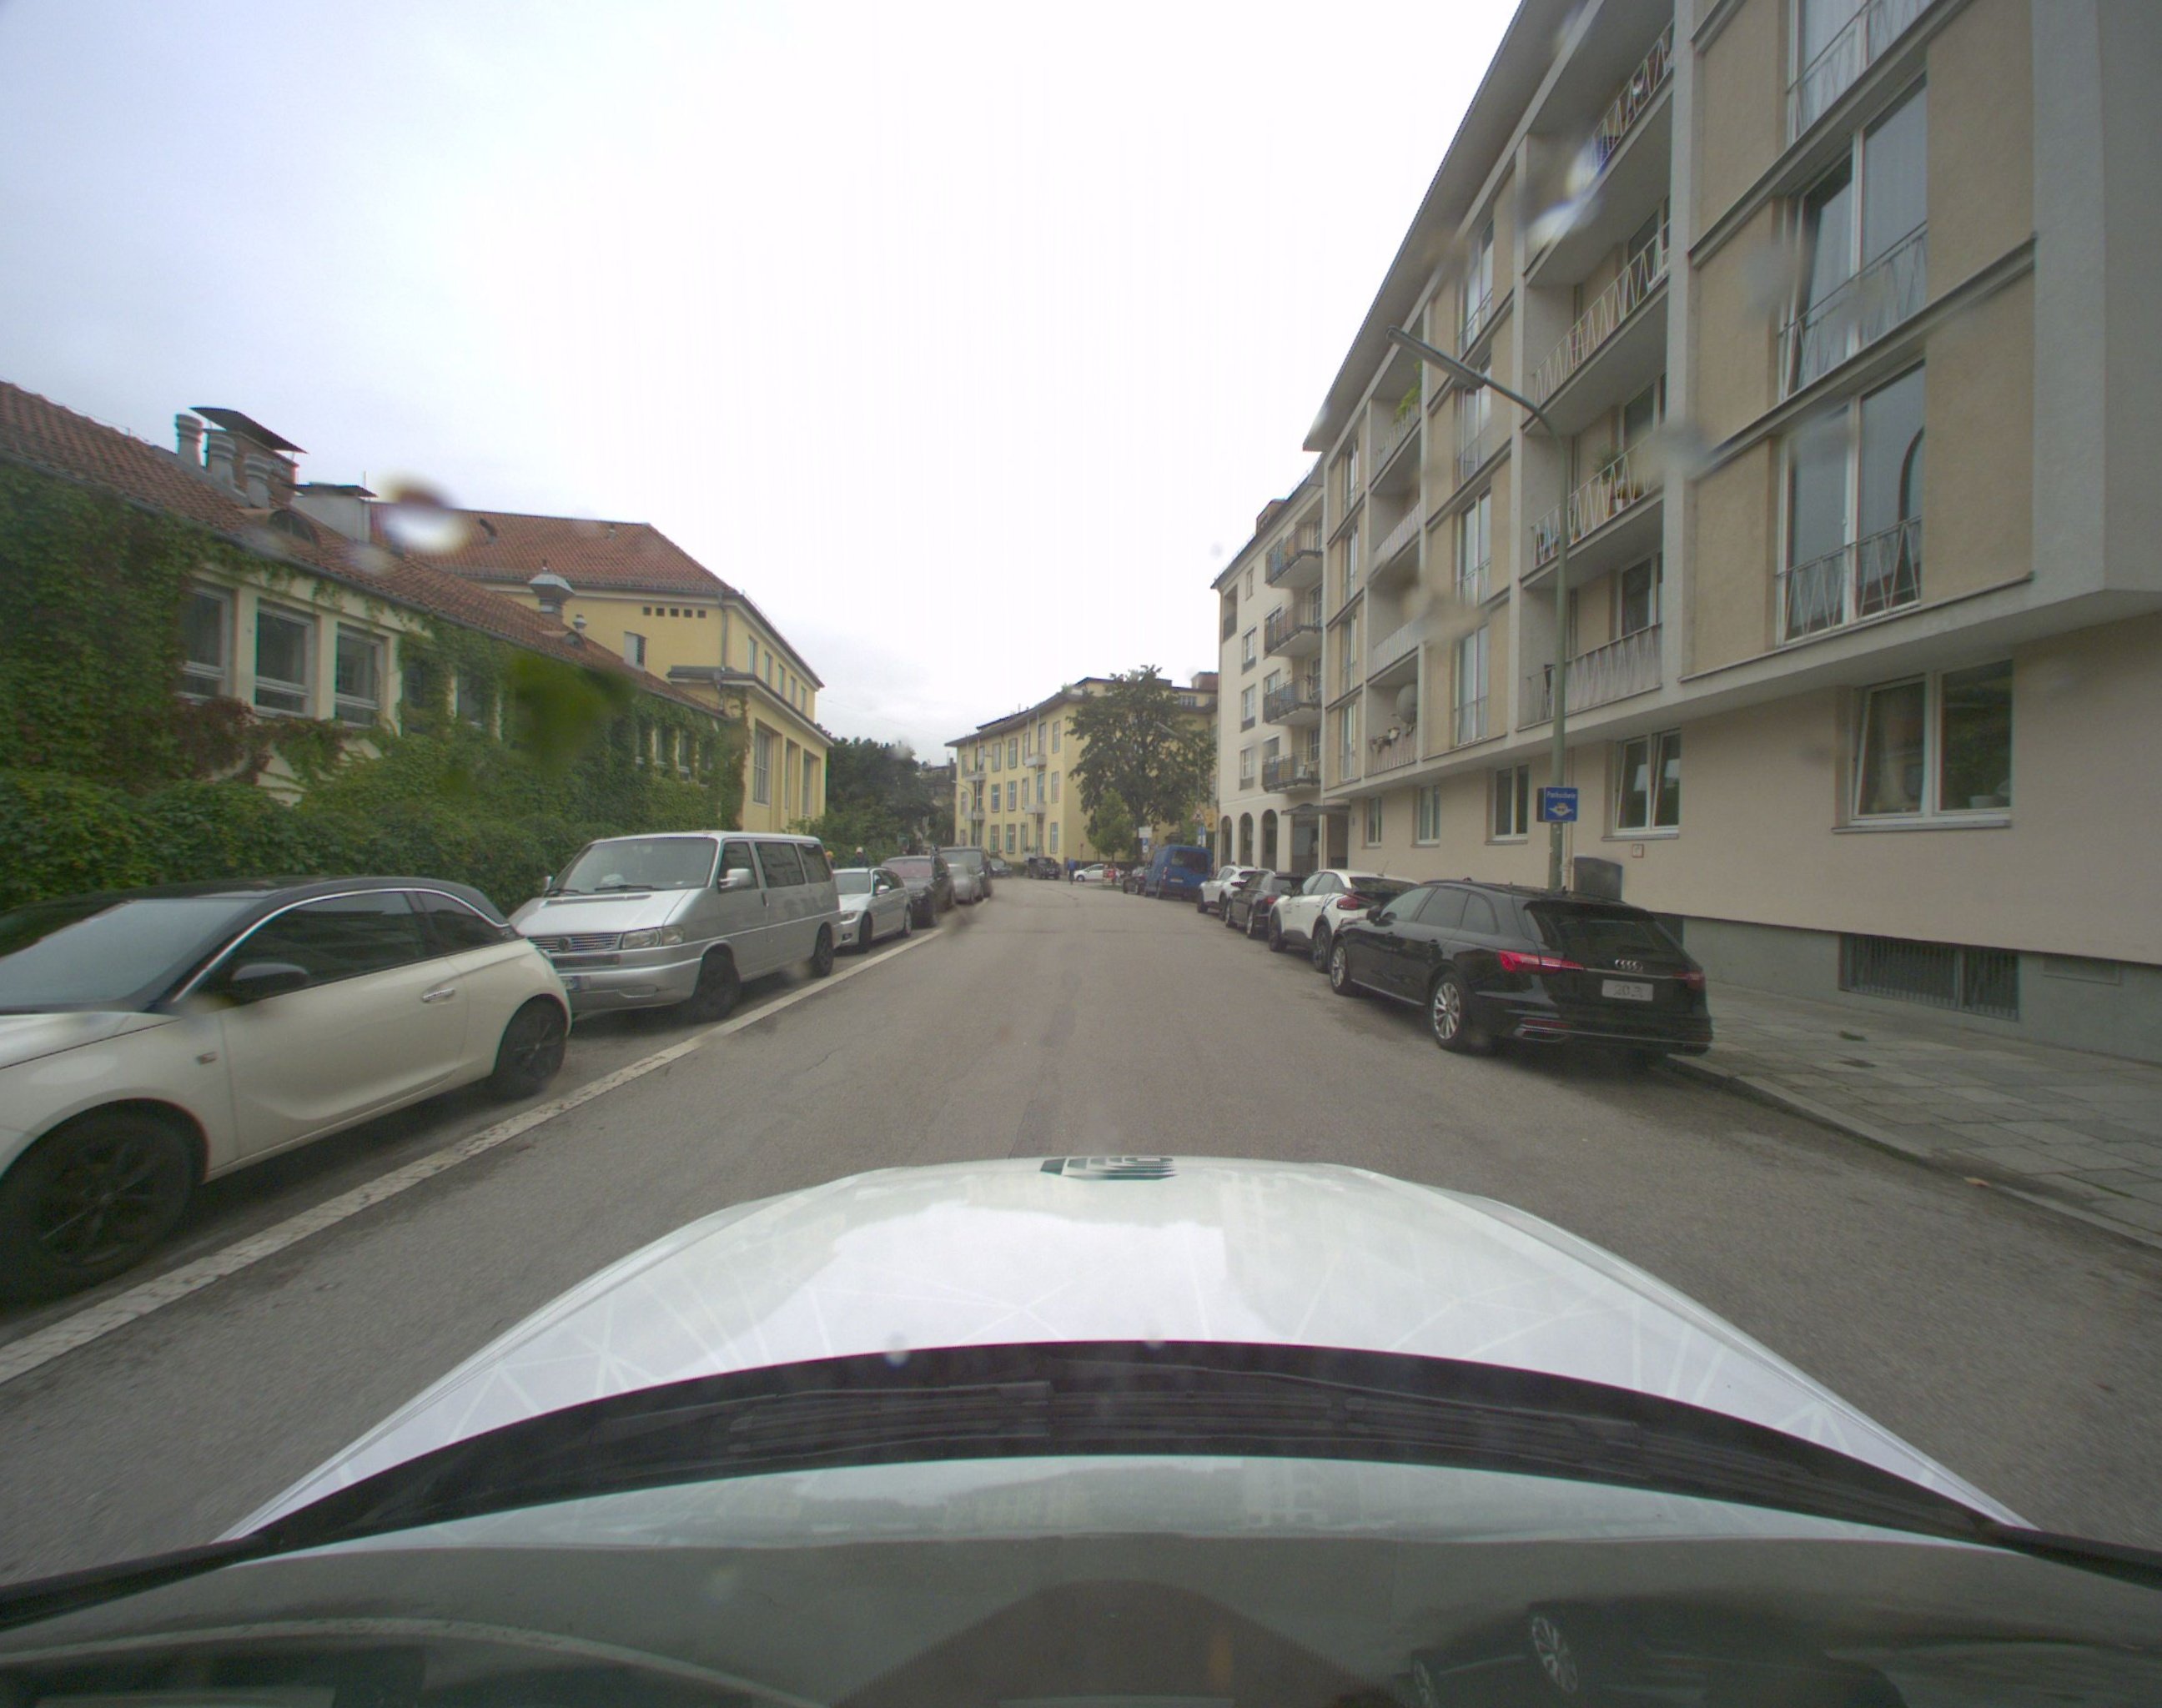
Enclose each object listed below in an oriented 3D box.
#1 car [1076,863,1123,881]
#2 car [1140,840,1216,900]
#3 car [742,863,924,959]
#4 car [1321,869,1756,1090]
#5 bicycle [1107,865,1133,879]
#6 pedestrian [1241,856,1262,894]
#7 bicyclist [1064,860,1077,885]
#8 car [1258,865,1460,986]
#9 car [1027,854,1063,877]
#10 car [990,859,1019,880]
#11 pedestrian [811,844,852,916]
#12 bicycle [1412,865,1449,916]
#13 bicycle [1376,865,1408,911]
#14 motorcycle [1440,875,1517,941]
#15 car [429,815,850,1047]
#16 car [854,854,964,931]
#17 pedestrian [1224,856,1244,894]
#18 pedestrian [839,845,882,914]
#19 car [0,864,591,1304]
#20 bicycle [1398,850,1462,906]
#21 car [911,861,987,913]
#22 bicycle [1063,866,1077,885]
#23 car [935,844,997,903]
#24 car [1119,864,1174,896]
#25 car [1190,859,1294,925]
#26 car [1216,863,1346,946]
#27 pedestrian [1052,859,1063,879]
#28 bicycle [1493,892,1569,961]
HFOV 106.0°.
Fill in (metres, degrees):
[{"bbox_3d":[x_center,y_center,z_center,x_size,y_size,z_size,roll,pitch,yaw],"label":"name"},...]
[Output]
[{"bbox_3d":[1.496,1.445,65.372,3.698,1.406,1.755,1,0,4],"label":"car"},{"bbox_3d":[4.092,0.742,35.204,2.106,2.214,5.018,6,-3,-5],"label":"car"},{"bbox_3d":[-4.303,0.910,14.946,1.797,1.377,4.492,-4,-1,1],"label":"car"},{"bbox_3d":[3.912,0.933,8.036,1.820,1.381,4.492,3,0,1],"label":"car"},{"bbox_3d":[3.454,1.581,71.757,2.155,1.115,0.642,1,0,9],"label":"bicycle"},{"bbox_3d":[7.256,0.897,34.749,0.710,1.605,0.699,0,-1,-3],"label":"pedestrian"},{"bbox_3d":[-0.733,1.290,57.765,0.911,1.764,1.215,1,0,0],"label":"bicyclist"},{"bbox_3d":[4.223,0.994,13.104,1.697,1.468,4.118,5,0,-1],"label":"car"},{"bbox_3d":[-3.216,1.009,71.854,1.880,1.887,4.586,1,0,-21],"label":"car"},{"bbox_3d":[-6.770,1.342,71.620,1.995,1.719,4.596,1,0,-12],"label":"car"},{"bbox_3d":[-5.857,0.605,19.166,0.680,1.652,0.872,1,0,0],"label":"pedestrian"},{"bbox_3d":[8.578,0.875,20.020,0.391,1.202,1.344,-3,-1,6],"label":"bicycle"},{"bbox_3d":[8.519,0.909,22.335,0.444,1.202,1.397,-3,-1,7],"label":"bicycle"},{"bbox_3d":[8.344,1.100,17.191,0.633,1.271,2.040,0,-1,0],"label":"motorcycle"},{"bbox_3d":[-4.318,0.630,9.133,1.886,1.798,4.882,-3,0,1],"label":"car"},{"bbox_3d":[-4.074,0.837,20.033,1.697,1.606,4.490,-2,0,0],"label":"car"},{"bbox_3d":[6.532,0.898,34.764,0.677,1.629,0.829,0,-1,-3],"label":"pedestrian"},{"bbox_3d":[-5.795,0.651,21.419,0.840,1.755,0.872,1,0,2],"label":"pedestrian"},{"bbox_3d":[-4.432,0.811,4.152,1.661,1.409,3.558,-2,0,0],"label":"car"},{"bbox_3d":[8.028,0.549,18.739,1.339,1.202,0.392,-2,-1,-13],"label":"bicycle"},{"bbox_3d":[-3.999,0.955,25.265,1.702,1.365,4.000,-3,0,-1],"label":"car"},{"bbox_3d":[-0.742,1.530,57.783,0.918,1.252,2.322,1,0,1],"label":"bicycle"},{"bbox_3d":[-4.213,0.672,30.522,1.922,1.979,4.615,-2,0,-4],"label":"car"},{"bbox_3d":[3.237,1.272,40.989,1.715,1.395,3.985,4,-1,-10],"label":"car"},{"bbox_3d":[4.549,1.023,23.678,1.773,1.522,4.297,5,0,-5],"label":"car"},{"bbox_3d":[4.284,1.000,18.215,1.766,1.429,4.694,5,0,1],"label":"car"},{"bbox_3d":[-2.095,1.344,72.101,0.847,1.757,0.952,0,0,-6],"label":"pedestrian"},{"bbox_3d":[8.356,1.321,15.193,0.512,1.157,1.600,0,-1,0],"label":"bicycle"}]
